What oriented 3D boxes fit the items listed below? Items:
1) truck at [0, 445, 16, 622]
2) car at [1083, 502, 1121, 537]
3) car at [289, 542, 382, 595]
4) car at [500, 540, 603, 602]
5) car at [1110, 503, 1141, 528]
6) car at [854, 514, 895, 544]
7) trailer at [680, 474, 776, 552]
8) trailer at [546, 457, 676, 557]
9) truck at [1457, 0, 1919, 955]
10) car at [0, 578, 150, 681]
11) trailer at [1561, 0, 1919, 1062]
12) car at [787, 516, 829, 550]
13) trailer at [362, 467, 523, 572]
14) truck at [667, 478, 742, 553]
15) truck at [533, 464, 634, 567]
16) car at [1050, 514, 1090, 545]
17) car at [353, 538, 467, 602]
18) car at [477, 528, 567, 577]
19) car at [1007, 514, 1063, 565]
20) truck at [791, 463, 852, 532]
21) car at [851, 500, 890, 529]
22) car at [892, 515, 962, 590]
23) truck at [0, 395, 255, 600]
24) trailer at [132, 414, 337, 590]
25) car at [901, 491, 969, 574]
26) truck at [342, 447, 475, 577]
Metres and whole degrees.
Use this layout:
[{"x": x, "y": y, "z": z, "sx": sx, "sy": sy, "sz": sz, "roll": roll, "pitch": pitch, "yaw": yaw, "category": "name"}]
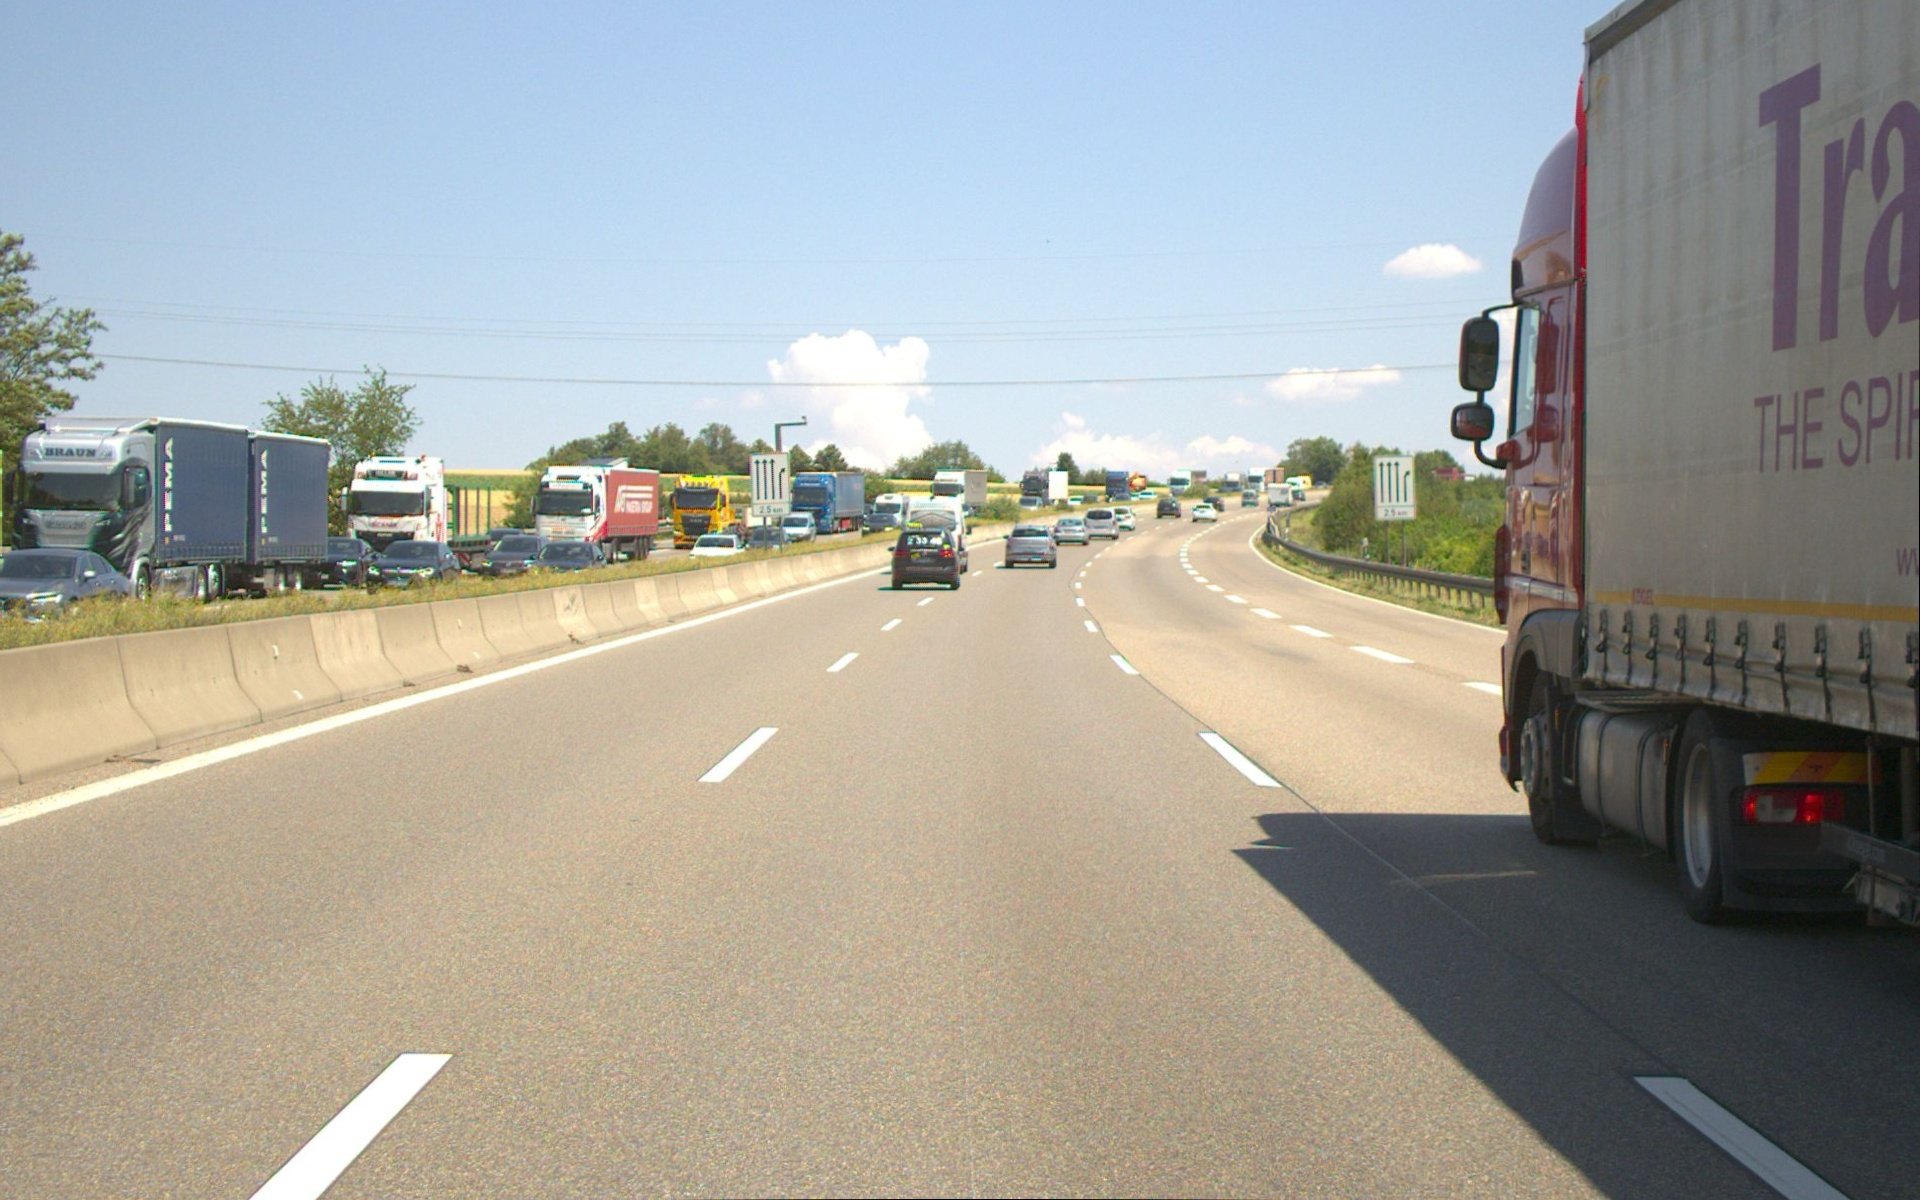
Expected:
[{"x": -18.574, "y": -1.141, "z": 59.094, "sx": 2.538, "sy": 3.196, "sz": 7.589, "roll": 0, "pitch": 1, "yaw": 1, "category": "truck"}, {"x": 8.287, "y": -4.671, "z": 200.828, "sx": 1.993, "sy": 1.897, "sz": 4.000, "roll": 0, "pitch": -1, "yaw": -1, "category": "car"}, {"x": -17.324, "y": -0.890, "z": 95.577, "sx": 1.656, "sy": 1.426, "sz": 4.648, "roll": 0, "pitch": 1, "yaw": 1, "category": "car"}, {"x": -10.603, "y": -0.781, "z": 89.519, "sx": 1.993, "sy": 1.522, "sz": 4.773, "roll": 1, "pitch": 1, "yaw": 1, "category": "car"}, {"x": 11.125, "y": -5.707, "z": 230.800, "sx": 1.994, "sy": 1.546, "sz": 4.000, "roll": 2, "pitch": 3, "yaw": 3, "category": "car"}, {"x": -4.912, "y": -4.133, "z": 198.661, "sx": 2.049, "sy": 1.690, "sz": 5.255, "roll": 1, "pitch": 1, "yaw": 2, "category": "car"}, {"x": -12.583, "y": -4.819, "z": 187.668, "sx": 2.953, "sy": 4.086, "sz": 14.380, "roll": 1, "pitch": 2, "yaw": 5, "category": "trailer"}, {"x": -14.895, "y": -3.999, "z": 147.924, "sx": 3.086, "sy": 4.086, "sz": 14.380, "roll": 1, "pitch": 2, "yaw": 4, "category": "trailer"}, {"x": 4.406, "y": -0.655, "z": 16.594, "sx": 2.916, "sy": 3.995, "sz": 6.511, "roll": 1, "pitch": 1, "yaw": -1, "category": "truck"}, {"x": -14.893, "y": 0.440, "z": 56.244, "sx": 1.993, "sy": 1.540, "sz": 5.495, "roll": 0, "pitch": 1, "yaw": 0, "category": "car"}, {"x": 4.501, "y": -0.575, "z": 9.712, "sx": 2.918, "sy": 4.103, "sz": 13.859, "roll": 1, "pitch": 1, "yaw": -1, "category": "trailer"}, {"x": -8.246, "y": -3.660, "z": 187.335, "sx": 1.913, "sy": 1.766, "sz": 4.762, "roll": 1, "pitch": 1, "yaw": 2, "category": "car"}, {"x": -16.759, "y": -2.642, "z": 112.313, "sx": 2.858, "sy": 3.195, "sz": 12.783, "roll": 1, "pitch": 1, "yaw": 2, "category": "trailer"}, {"x": -13.364, "y": -4.461, "z": 180.514, "sx": 2.751, "sy": 3.824, "sz": 7.097, "roll": 1, "pitch": 2, "yaw": 5, "category": "truck"}, {"x": -15.392, "y": -3.480, "z": 140.874, "sx": 3.036, "sy": 4.067, "sz": 6.314, "roll": 1, "pitch": 2, "yaw": 3, "category": "truck"}, {"x": 5.764, "y": -3.680, "z": 180.054, "sx": 1.994, "sy": 1.579, "sz": 4.000, "roll": 0, "pitch": 0, "yaw": 3, "category": "car"}, {"x": -13.788, "y": -0.771, "z": 86.469, "sx": 1.993, "sy": 1.522, "sz": 4.773, "roll": 1, "pitch": 1, "yaw": 1, "category": "car"}, {"x": -13.412, "y": -1.482, "z": 105.532, "sx": 1.993, "sy": 1.450, "sz": 5.170, "roll": 0, "pitch": 1, "yaw": 1, "category": "car"}, {"x": 2.771, "y": -2.223, "z": 126.512, "sx": 1.993, "sy": 1.744, "sz": 4.000, "roll": 1, "pitch": -1, "yaw": 2, "category": "car"}, {"x": -9.032, "y": -6.746, "z": 225.010, "sx": 2.783, "sy": 4.320, "sz": 10.649, "roll": 2, "pitch": 3, "yaw": 4, "category": "truck"}, {"x": -6.468, "y": -6.205, "z": 249.061, "sx": 2.204, "sy": 1.990, "sz": 4.484, "roll": 2, "pitch": 3, "yaw": 6, "category": "car"}, {"x": -0.884, "y": -1.299, "z": 92.259, "sx": 1.847, "sy": 1.854, "sz": 4.206, "roll": 0, "pitch": 3, "yaw": -1, "category": "car"}, {"x": -18.382, "y": -2.234, "z": 76.146, "sx": 3.001, "sy": 4.219, "sz": 10.733, "roll": 0, "pitch": 1, "yaw": 2, "category": "truck"}, {"x": -18.000, "y": -2.425, "z": 85.949, "sx": 2.986, "sy": 4.178, "sz": 8.595, "roll": 0, "pitch": 1, "yaw": 2, "category": "trailer"}, {"x": -0.820, "y": -2.230, "z": 115.664, "sx": 2.180, "sy": 2.616, "sz": 4.672, "roll": 1, "pitch": -1, "yaw": 0, "category": "car"}, {"x": -17.006, "y": -2.712, "z": 106.363, "sx": 2.901, "sy": 3.863, "sz": 6.178, "roll": 1, "pitch": 1, "yaw": 2, "category": "truck"}]
